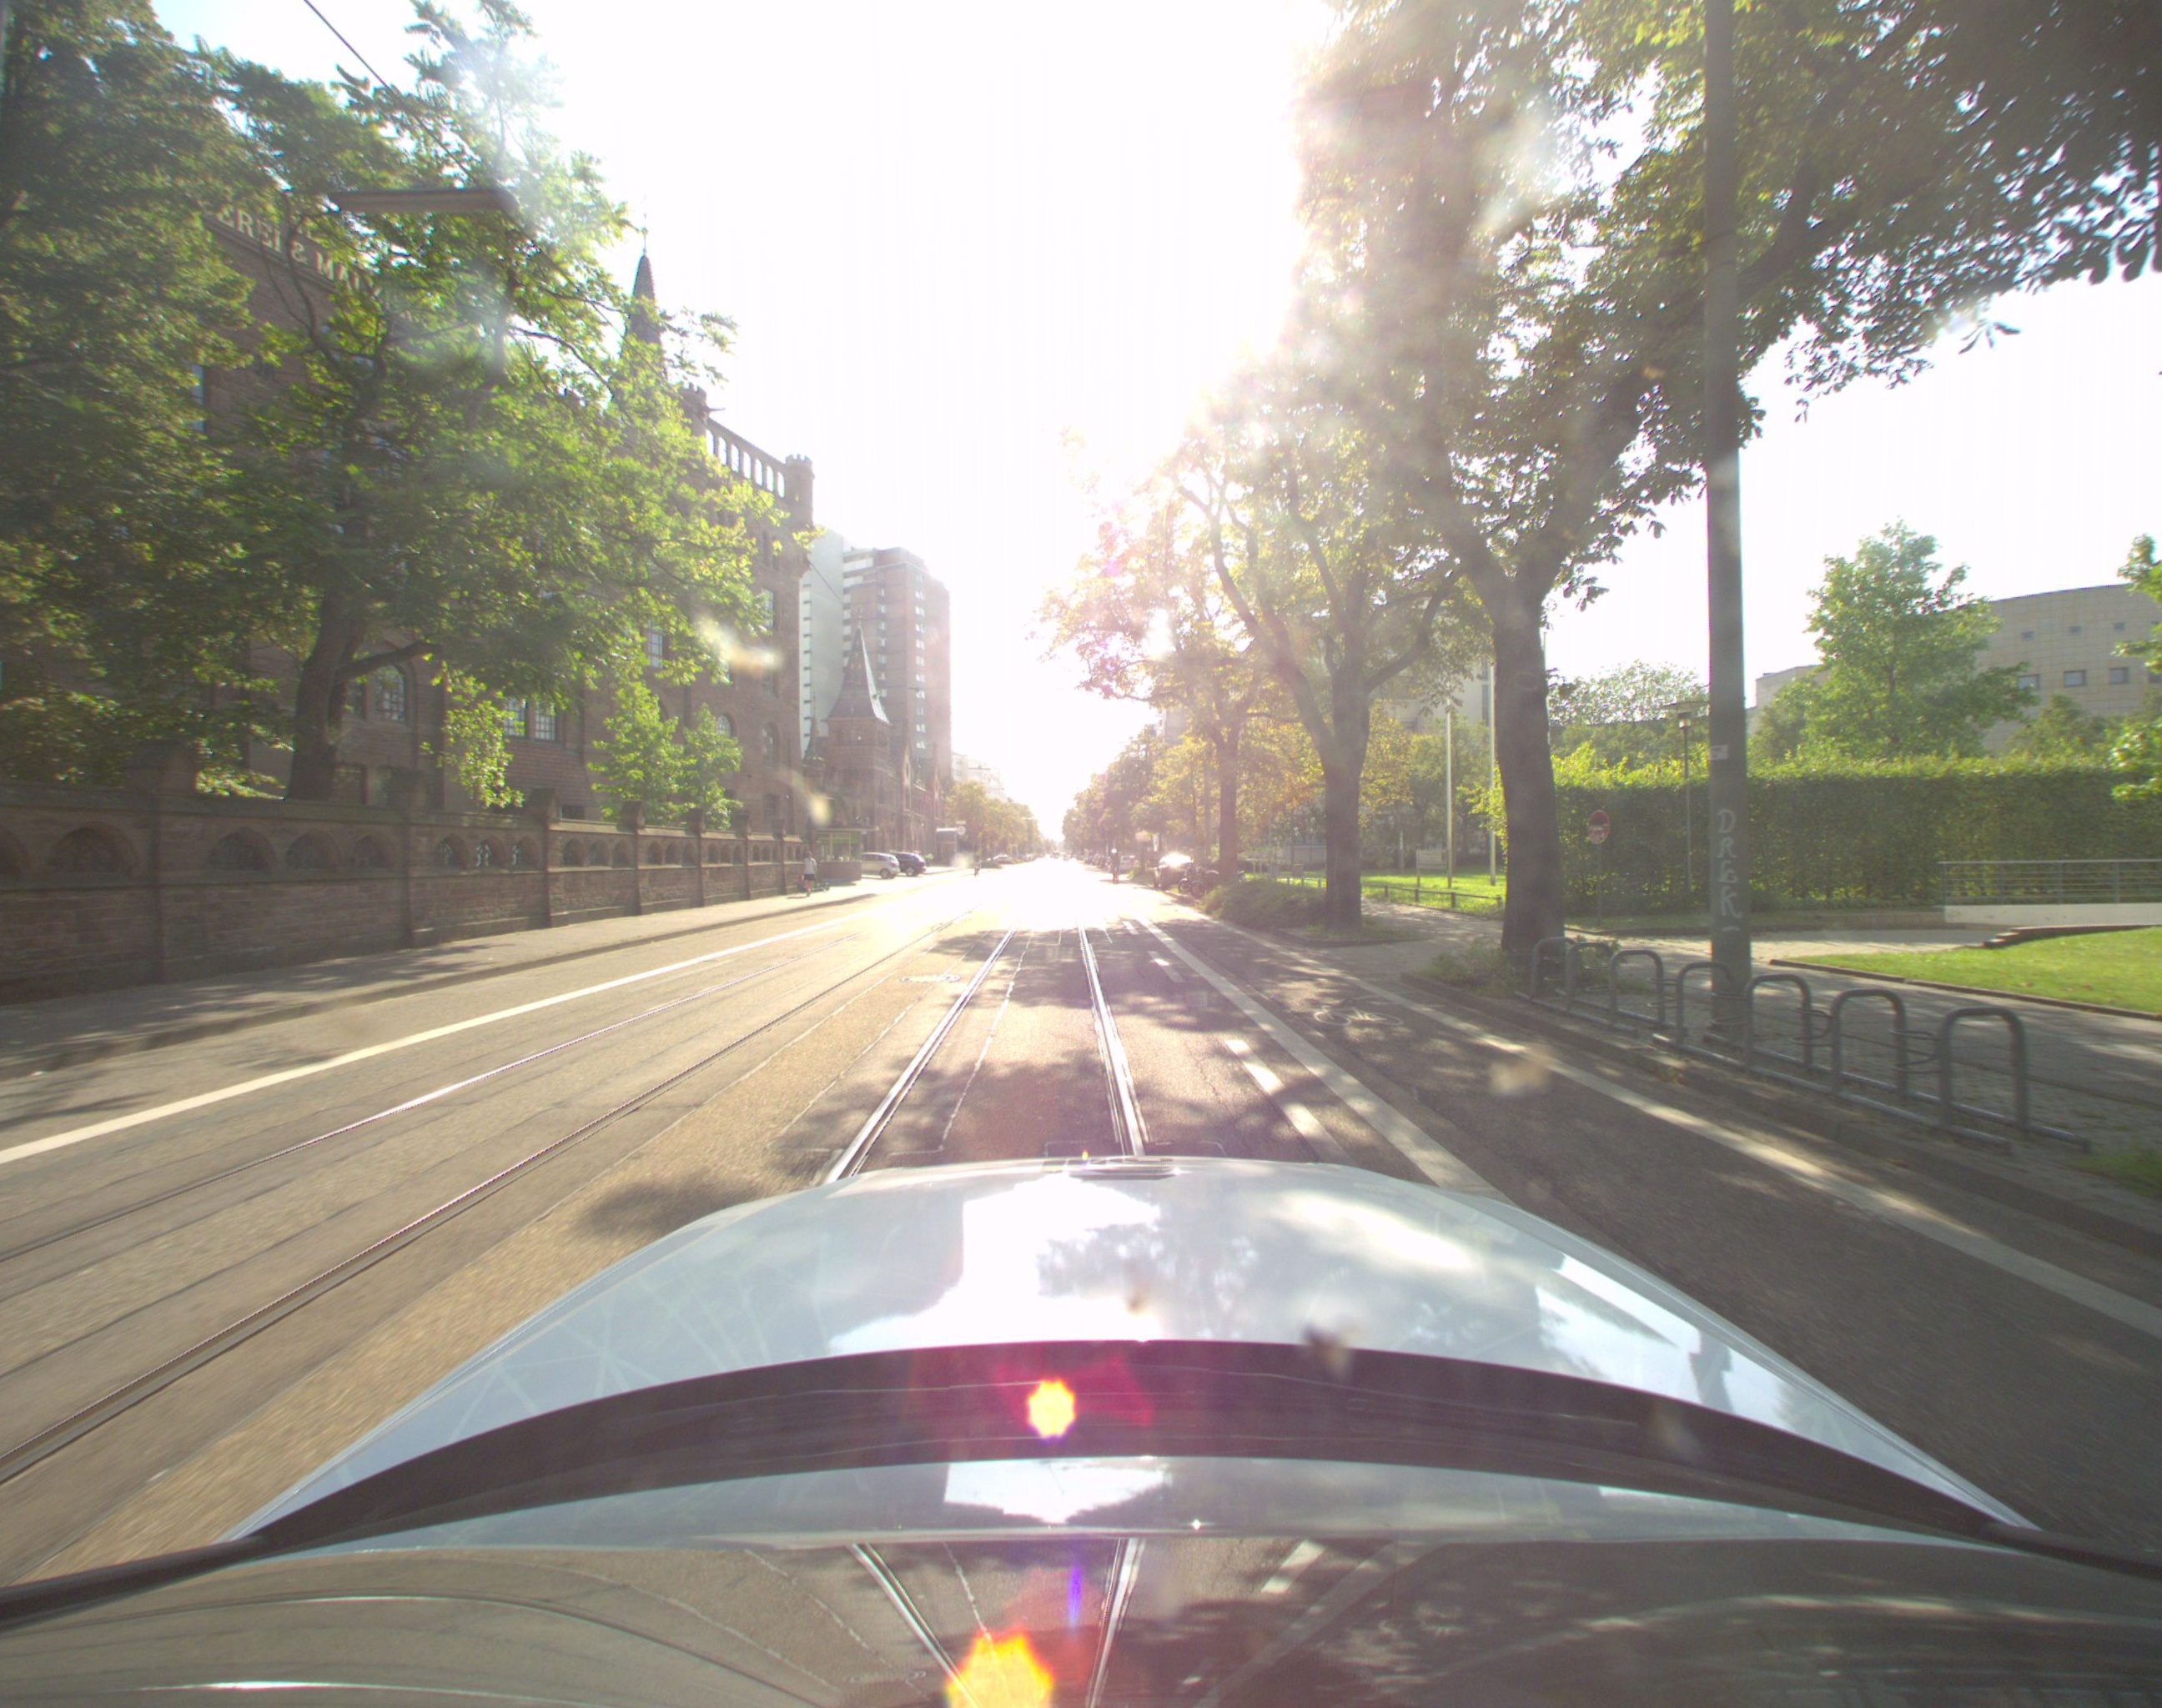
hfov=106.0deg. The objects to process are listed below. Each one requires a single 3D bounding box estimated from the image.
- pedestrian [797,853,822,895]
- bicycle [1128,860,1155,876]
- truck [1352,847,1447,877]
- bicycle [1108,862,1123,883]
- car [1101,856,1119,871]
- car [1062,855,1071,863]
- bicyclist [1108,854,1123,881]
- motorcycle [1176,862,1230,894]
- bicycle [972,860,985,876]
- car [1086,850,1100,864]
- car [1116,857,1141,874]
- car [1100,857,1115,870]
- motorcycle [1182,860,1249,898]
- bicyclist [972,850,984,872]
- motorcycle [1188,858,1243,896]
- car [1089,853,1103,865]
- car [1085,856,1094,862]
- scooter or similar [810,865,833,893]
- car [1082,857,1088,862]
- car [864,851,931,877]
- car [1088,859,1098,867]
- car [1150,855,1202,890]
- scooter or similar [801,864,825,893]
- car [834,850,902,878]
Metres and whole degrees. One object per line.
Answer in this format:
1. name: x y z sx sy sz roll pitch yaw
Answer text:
1. pedestrian: -10.277 0.757 30.854 0.713 1.589 0.774 0 -1 -2
2. bicycle: 4.215 0.989 57.045 1.765 1.064 0.795 -2 -1 -4
3. truck: 24.486 0.636 62.818 6.547 2.215 2.120 0 -1 -1
4. bicycle: 1.906 1.009 44.958 0.784 1.144 2.305 0 -1 1
5. car: 3.110 1.054 87.005 1.642 1.428 4.081 -1 -2 -2
6. car: -3.491 1.192 197.483 1.987 1.838 3.999 0 -1 0
7. bicyclist: 1.909 0.744 44.950 0.784 1.470 1.116 0 -1 0
8. motorcycle: 4.735 0.929 31.713 1.965 1.225 0.649 -1 -1 23
9. bicycle: -7.661 1.038 60.863 0.695 1.158 2.035 -4 0 -3
10. car: 2.265 0.597 153.840 2.077 2.552 5.496 -4 0 -3
11. car: 4.023 0.969 69.456 1.636 1.430 3.984 -1 -1 -3
12. car: 3.182 1.193 99.552 1.641 1.511 3.776 -2 0 -1
13. motorcycle: 4.594 0.857 27.851 2.040 1.243 0.850 -2 -1 37
14. bicyclist: -7.702 0.556 60.872 0.696 1.580 1.086 -4 0 -4
15. motorcycle: 4.884 0.832 29.659 0.847 1.327 2.047 -2 -1 -30
16. car: 2.216 0.741 122.734 1.749 1.691 4.391 0 0 -3
17. car: 1.714 1.069 172.951 1.748 1.377 4.716 -2 0 -1
18. scooter or similar: -10.846 1.059 34.078 0.821 1.148 0.281 3 -3 -38
19. car: 0.989 1.359 206.451 1.684 1.418 3.633 0 -1 0
20. car: -13.285 0.724 59.263 4.388 1.645 1.954 3 0 -4
21. car: 2.132 1.508 143.576 1.611 1.374 4.825 -1 0 0
22. car: 4.463 0.836 38.738 1.736 1.486 4.433 -2 0 -2
23. scooter or similar: -10.810 0.987 32.846 0.821 1.148 0.281 3 -3 -38
24. car: -13.908 0.647 53.360 3.885 1.596 1.823 3 0 1
